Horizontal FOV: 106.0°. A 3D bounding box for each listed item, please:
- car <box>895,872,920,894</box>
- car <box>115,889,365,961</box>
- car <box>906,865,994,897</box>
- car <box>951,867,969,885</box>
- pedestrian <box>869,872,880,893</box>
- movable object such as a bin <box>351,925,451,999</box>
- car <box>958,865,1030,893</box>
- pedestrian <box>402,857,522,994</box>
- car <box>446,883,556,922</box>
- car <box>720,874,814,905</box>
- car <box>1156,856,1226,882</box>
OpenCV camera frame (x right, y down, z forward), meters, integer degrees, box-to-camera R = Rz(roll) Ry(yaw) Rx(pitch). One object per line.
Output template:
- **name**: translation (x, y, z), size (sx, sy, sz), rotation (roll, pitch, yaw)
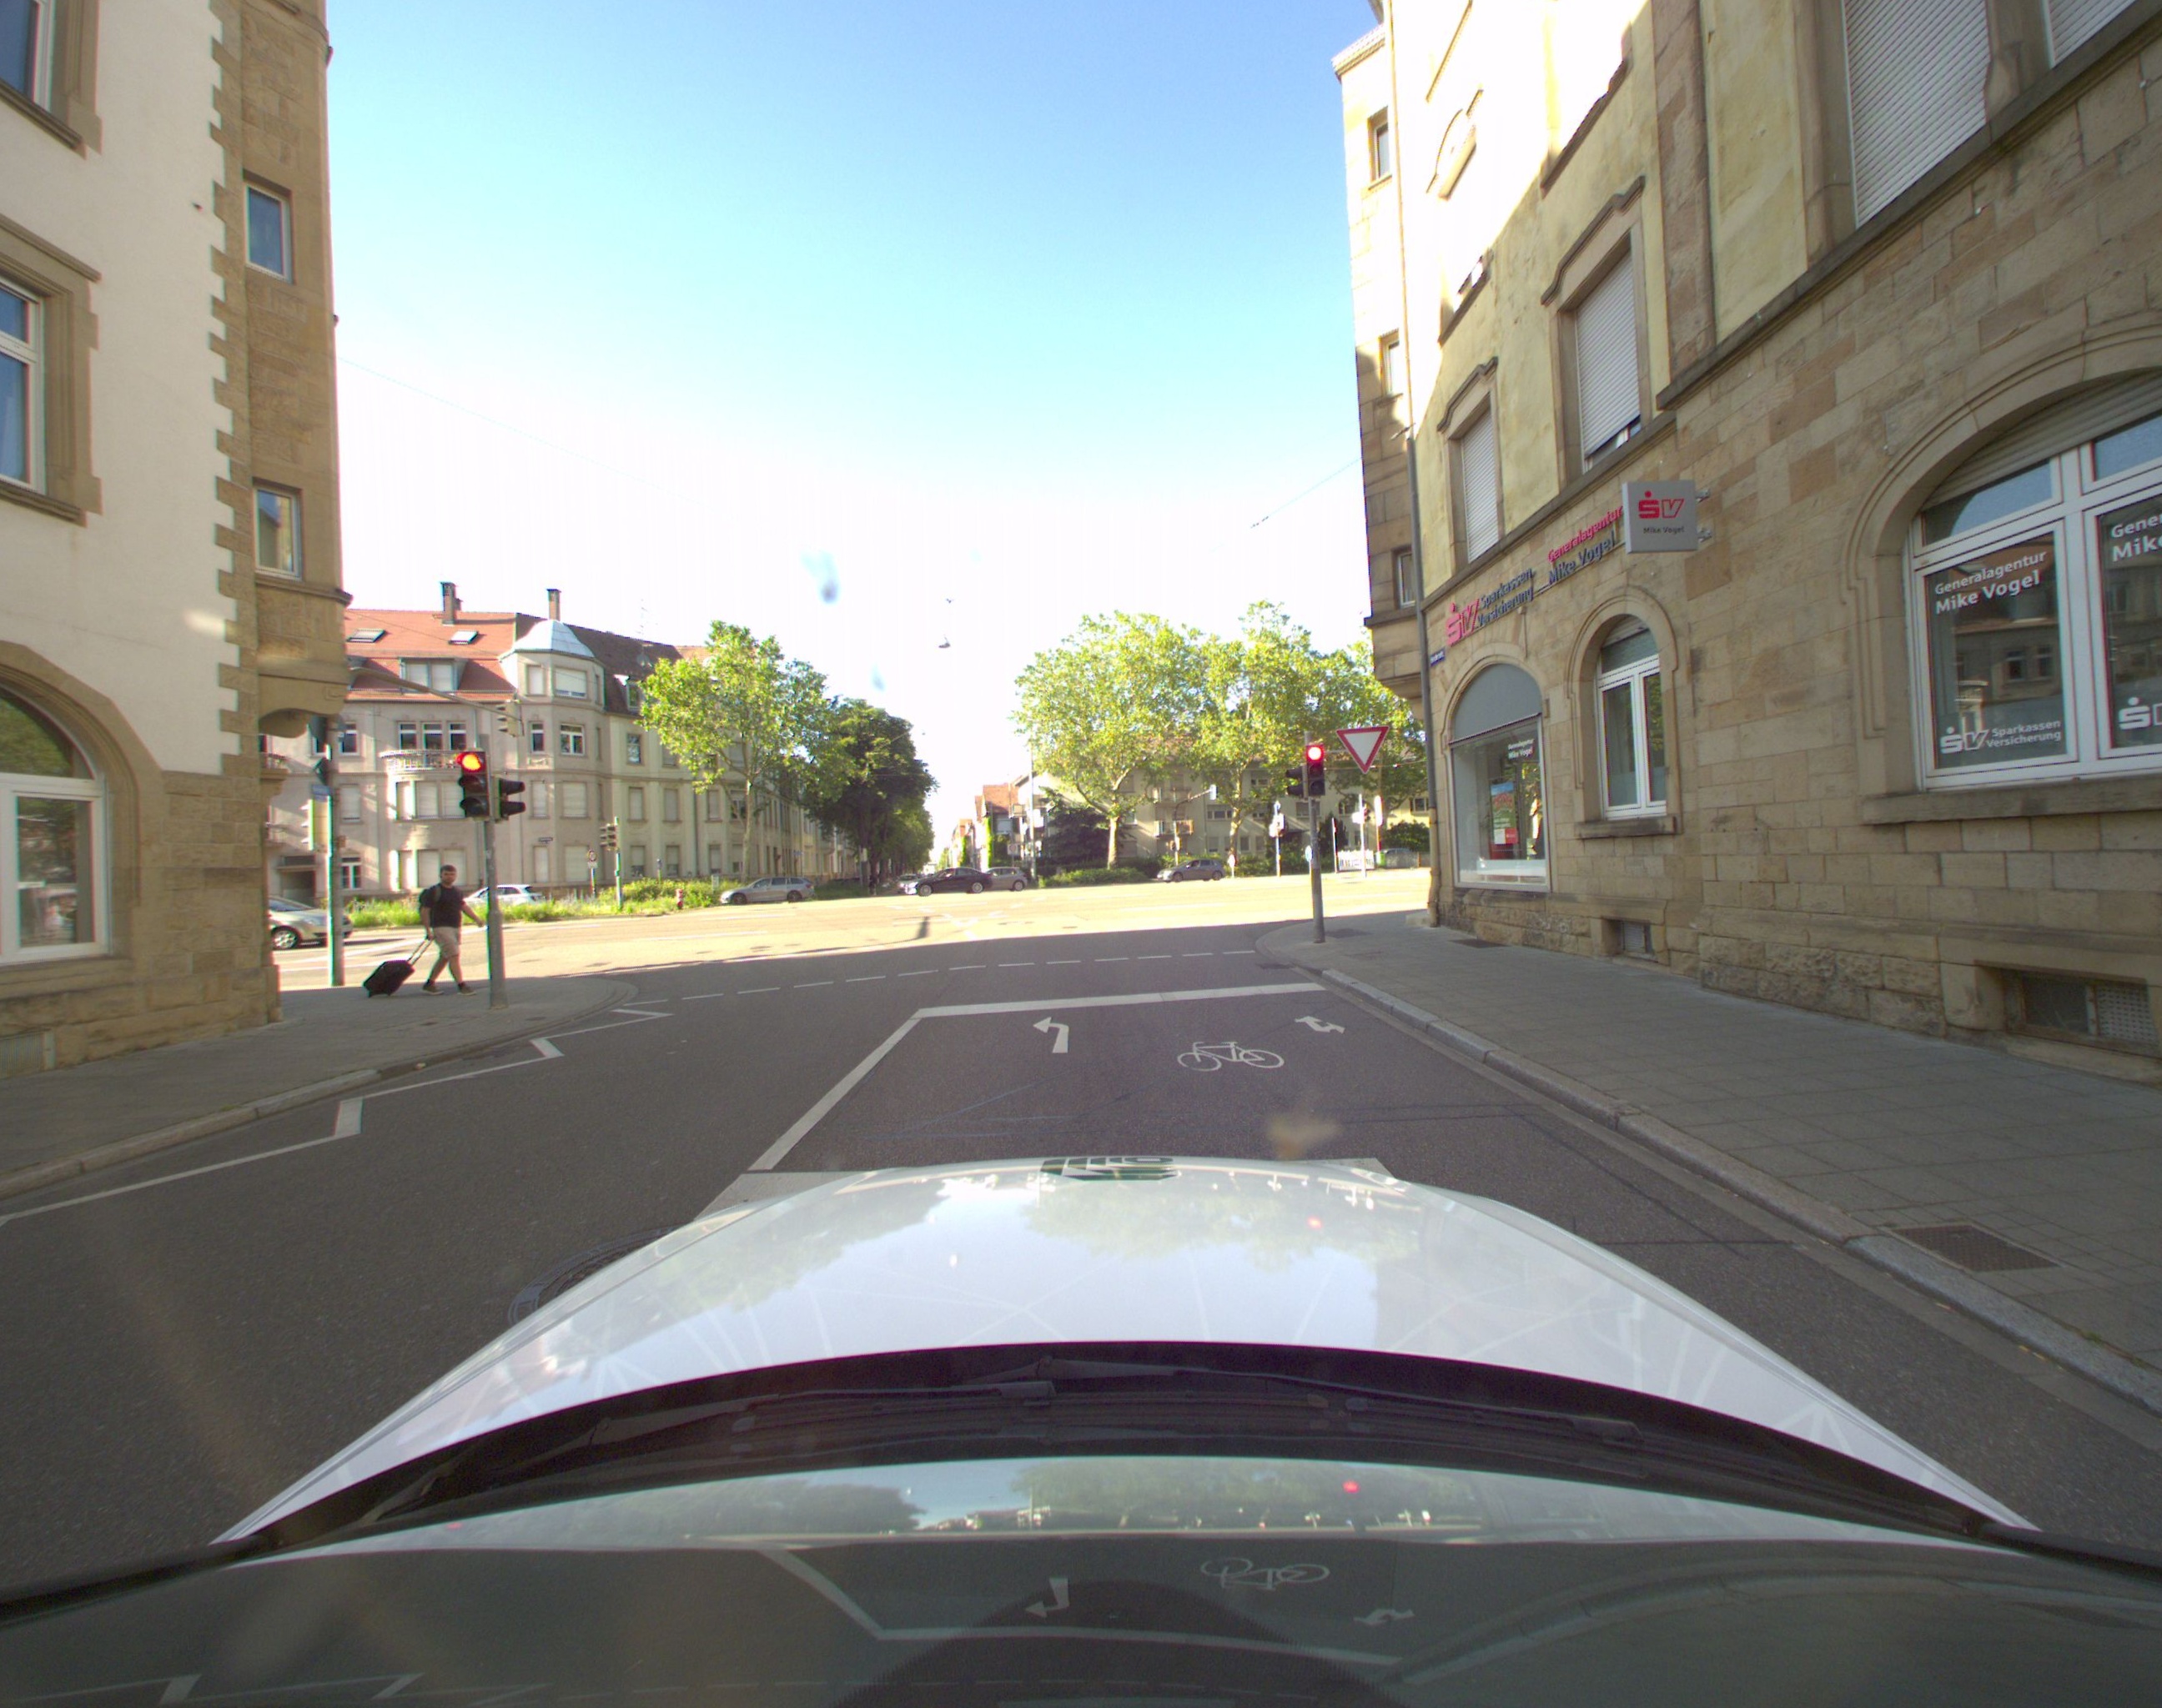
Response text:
- **car**: translation (-13.677, 2.271, 64.307), size (1.698, 1.483, 3.522), rotation (-4, 0, -10)
- **car**: translation (-21.899, 1.810, 21.423), size (4.212, 1.456, 1.669), rotation (-3, 0, -17)
- **car**: translation (-6.804, 1.388, 42.275), size (4.281, 1.400, 1.635), rotation (-2, 0, -20)
- **car**: translation (-14.141, 2.512, 95.070), size (1.773, 1.918, 3.522), rotation (-4, 0, -10)
- **pedestrian**: translation (-14.751, 2.037, 58.153), size (0.704, 1.442, 0.487), rotation (0, -1, -15)
- **movable object such as a bin**: translation (-9.235, 1.454, 11.082), size (0.862, 0.892, 0.507), rotation (-3, 0, -11)
- **car**: translation (-4.987, 1.390, 46.558), size (3.793, 1.400, 1.635), rotation (-2, 0, -20)
- **pedestrian**: translation (-8.663, 0.976, 11.445), size (1.066, 1.849, 0.746), rotation (1, -1, -11)
- **car**: translation (-25.794, 2.129, 36.345), size (3.641, 1.457, 1.494), rotation (-2, 0, -18)
- **car**: translation (-16.269, 1.816, 42.432), size (4.399, 1.316, 1.636), rotation (-2, 0, -18)
- **car**: translation (6.804, 0.921, 50.339), size (3.947, 1.400, 1.637), rotation (-2, 0, -16)
